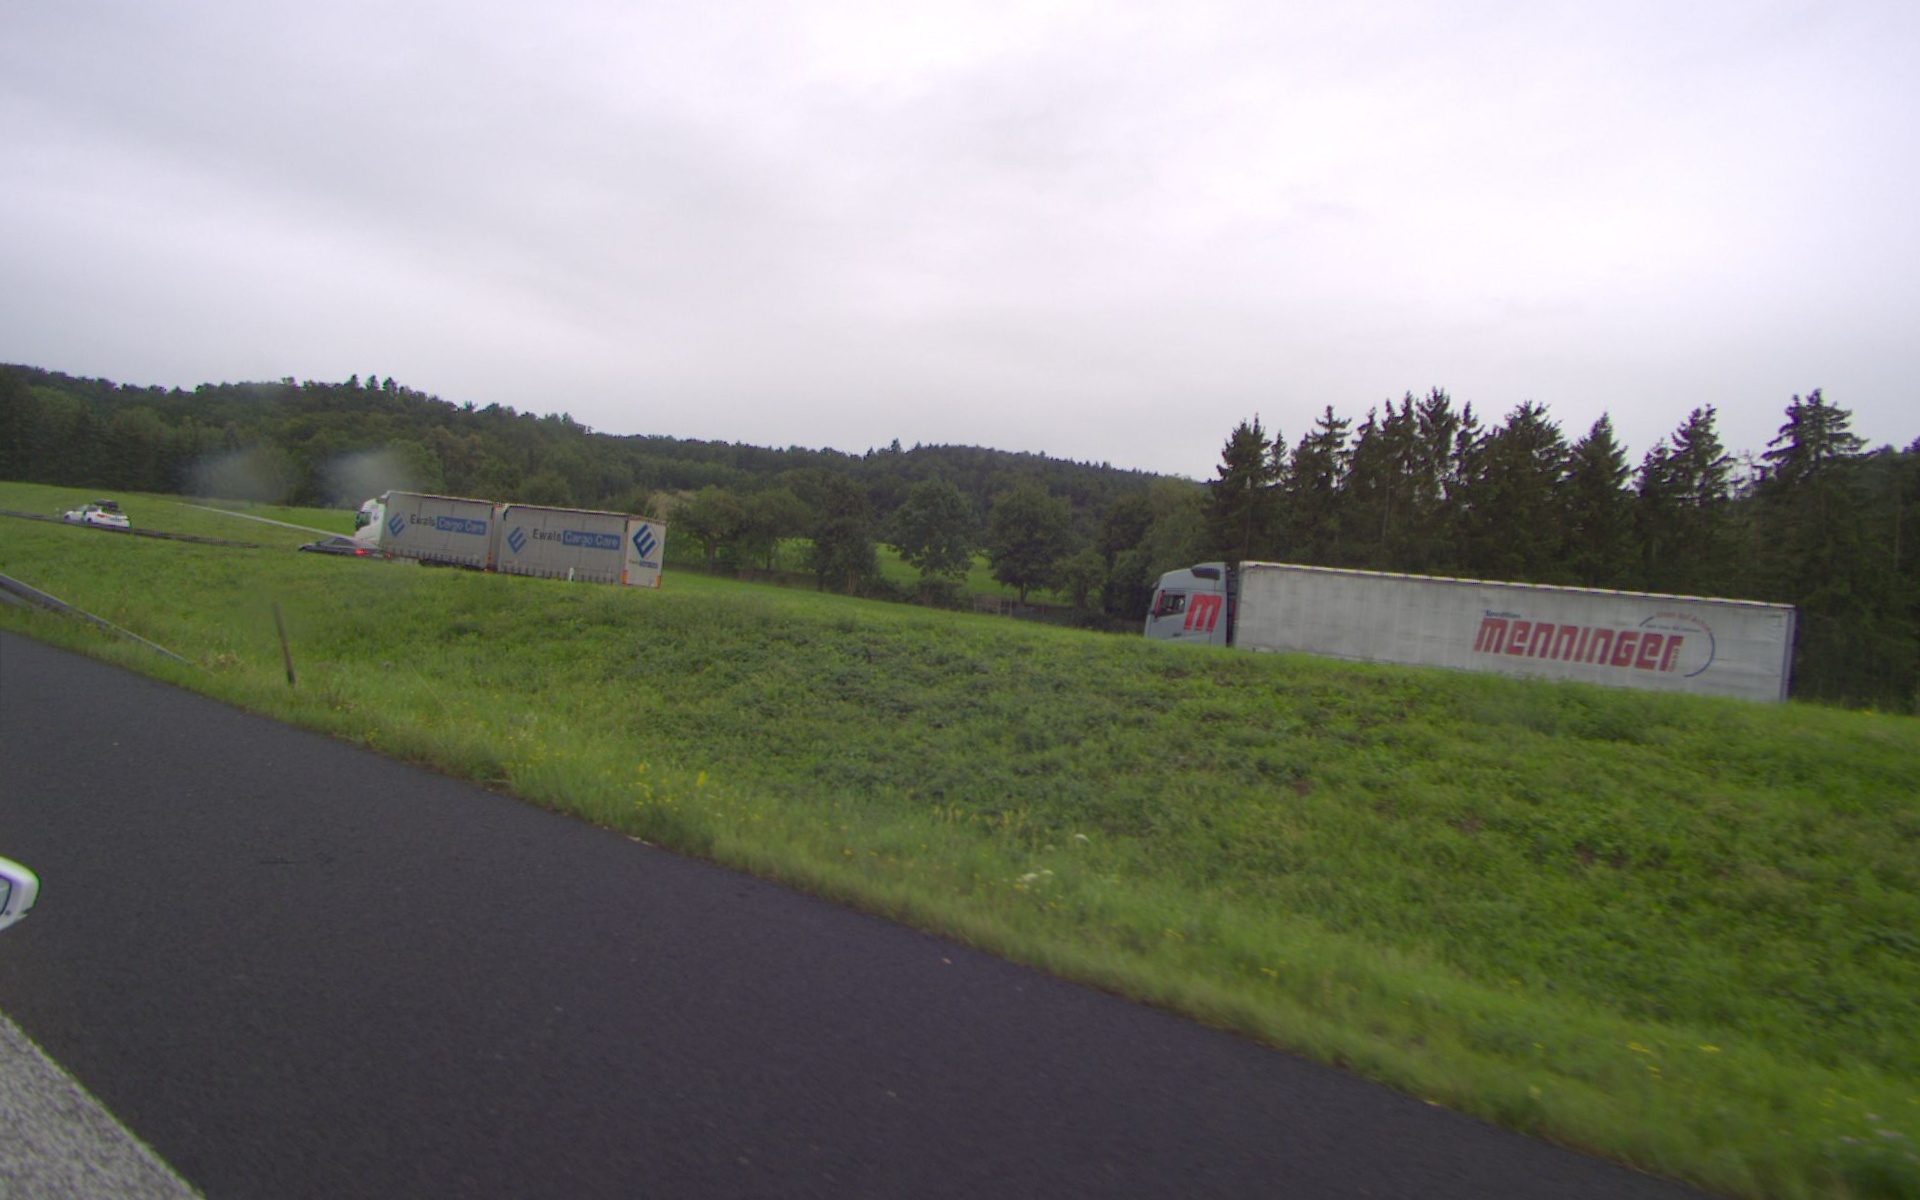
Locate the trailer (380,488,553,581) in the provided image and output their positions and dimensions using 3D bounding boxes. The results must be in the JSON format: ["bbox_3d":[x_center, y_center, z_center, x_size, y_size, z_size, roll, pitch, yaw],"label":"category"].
[{"bbox_3d":[-24.803,-3.296,50.491,8.268,3.567,2.948,7,-2,25],"label":"trailer"}]

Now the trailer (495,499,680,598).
[{"bbox_3d":[-17.479,-2.426,47.108,7.939,3.567,3.089,7,-2,25],"label":"trailer"}]

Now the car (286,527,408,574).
[{"bbox_3d":[-26.788,-2.172,43.968,5.225,1.393,1.992,7,-1,27],"label":"car"}]

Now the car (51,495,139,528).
[{"bbox_3d":[-52.292,-5.338,60.825,4.987,1.393,1.992,7,-1,24],"label":"car"}]

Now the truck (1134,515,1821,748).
[{"bbox_3d":[13.942,0.595,29.676,16.584,4.595,3.831,6,-1,26],"label":"truck"}]

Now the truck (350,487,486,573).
[{"bbox_3d":[-27.985,-3.621,51.942,5.821,3.567,2.948,7,-2,25],"label":"truck"}]
